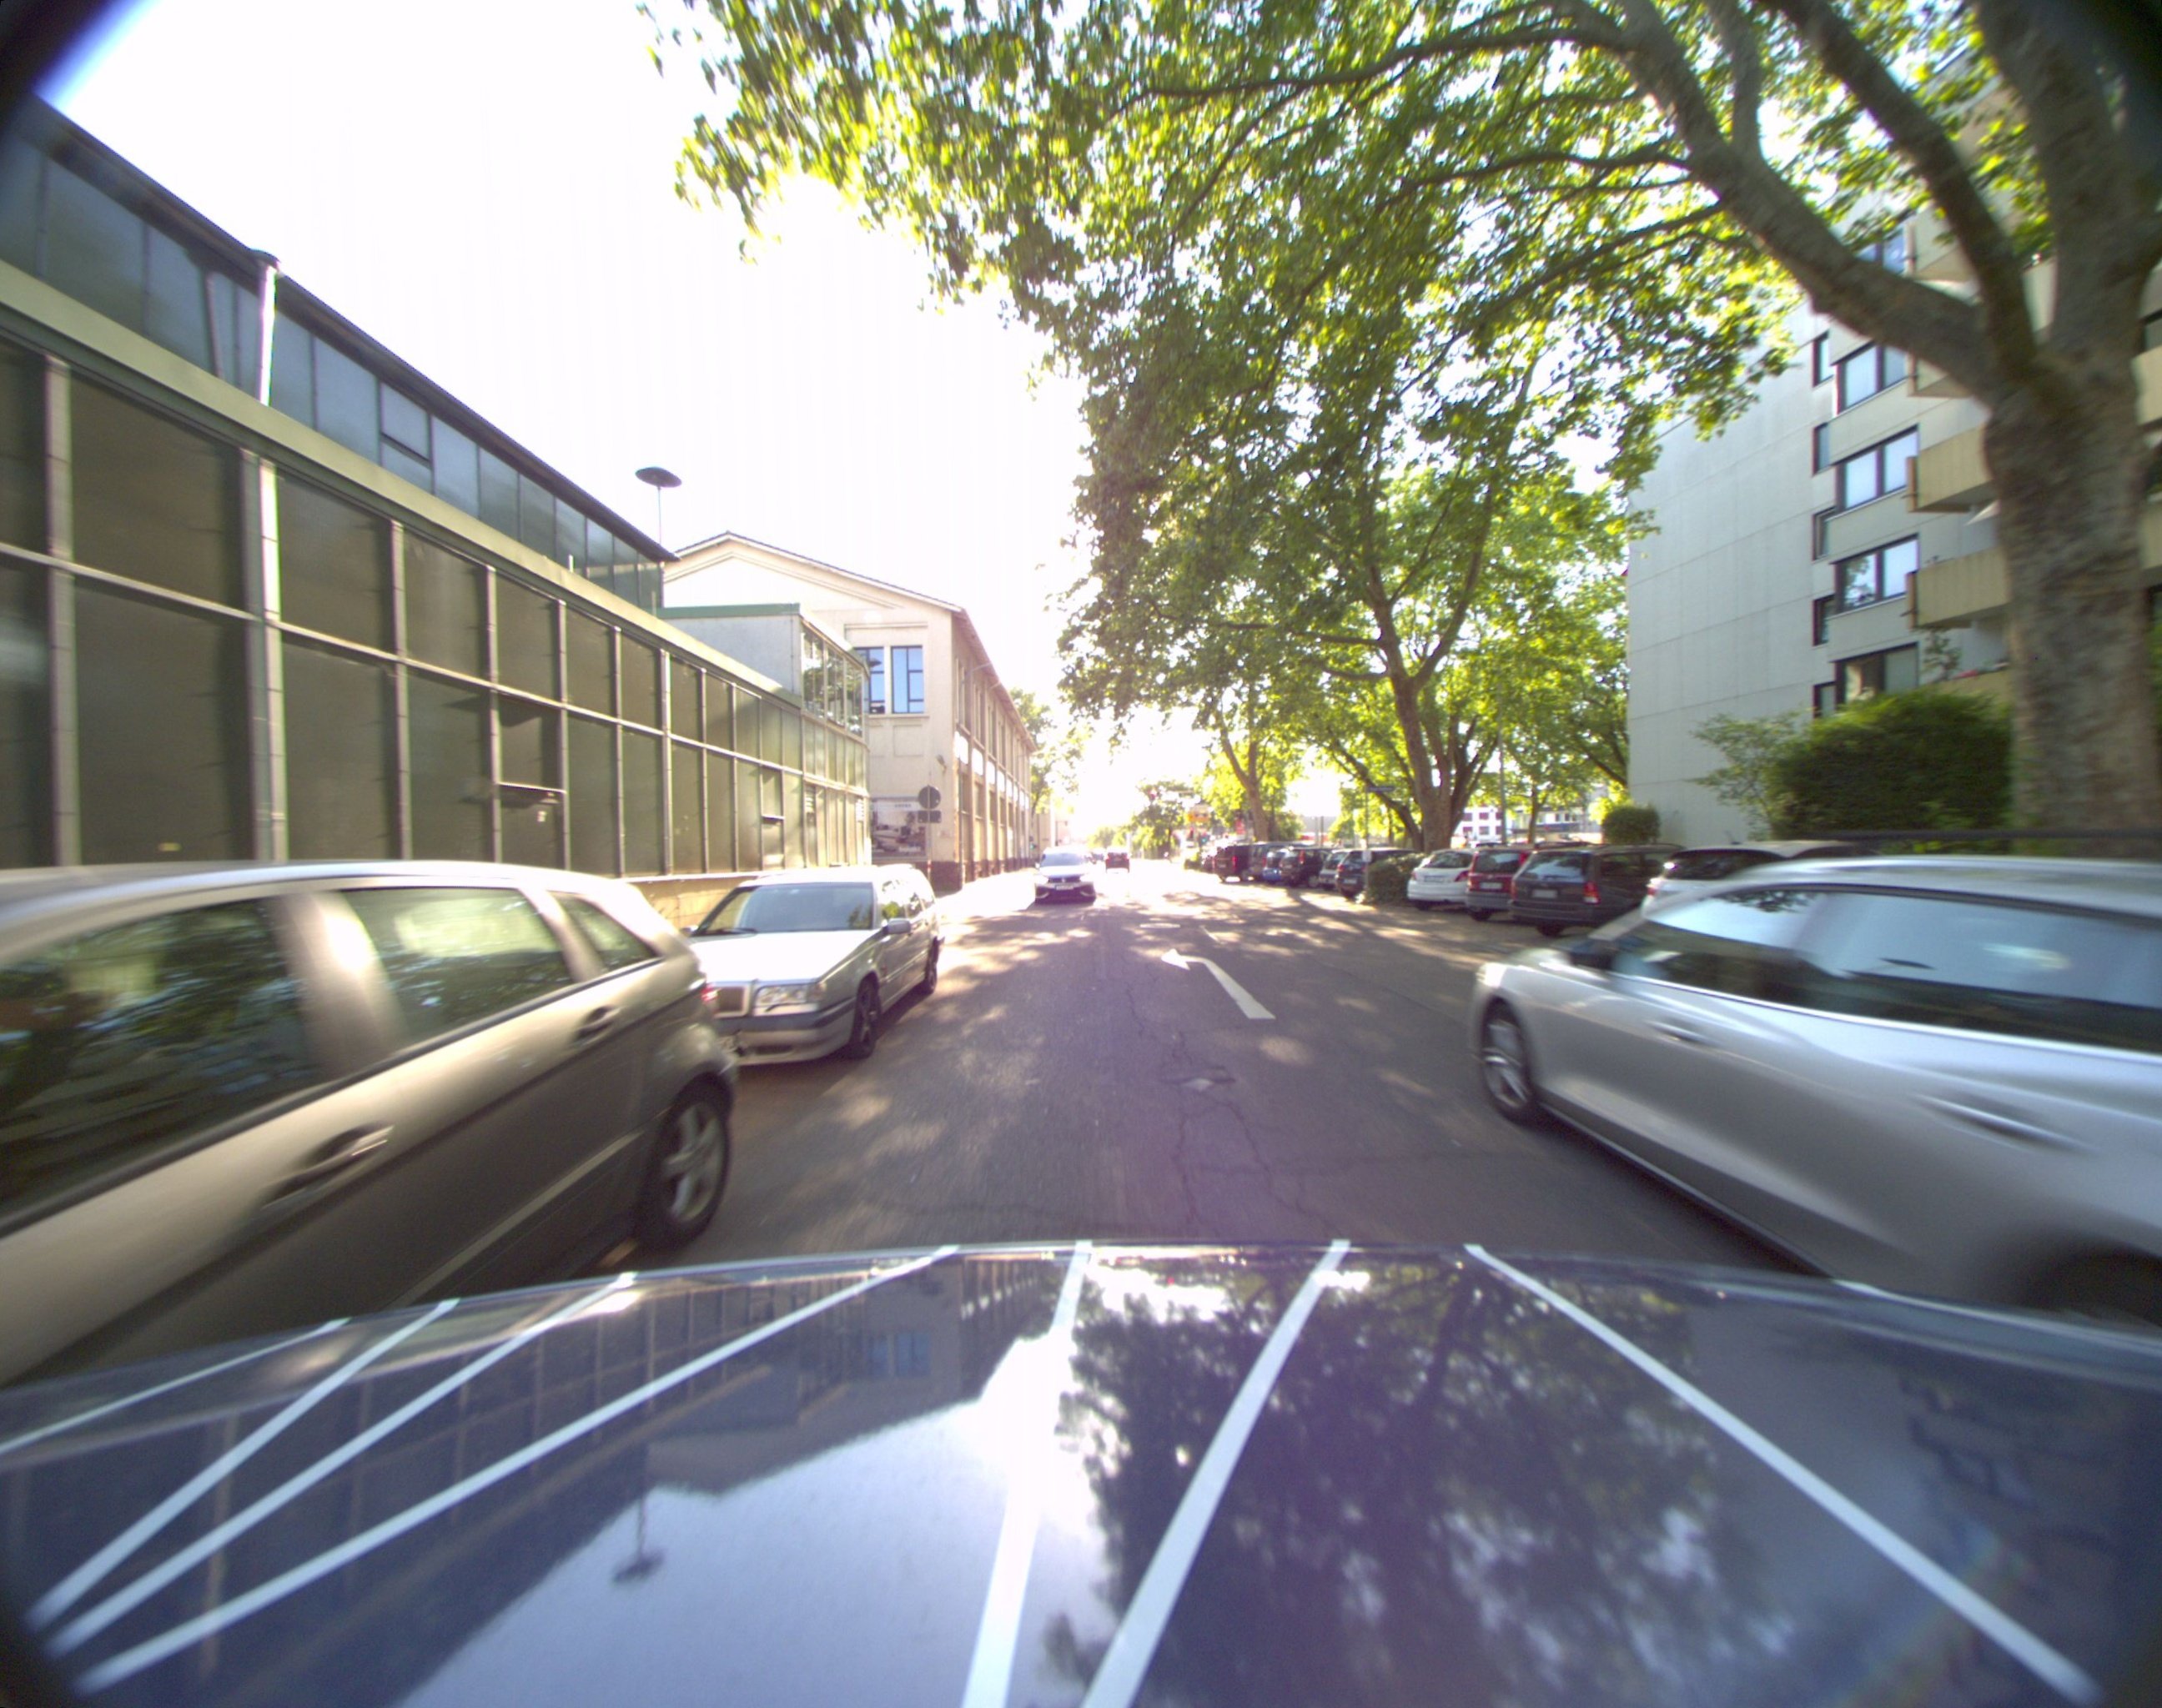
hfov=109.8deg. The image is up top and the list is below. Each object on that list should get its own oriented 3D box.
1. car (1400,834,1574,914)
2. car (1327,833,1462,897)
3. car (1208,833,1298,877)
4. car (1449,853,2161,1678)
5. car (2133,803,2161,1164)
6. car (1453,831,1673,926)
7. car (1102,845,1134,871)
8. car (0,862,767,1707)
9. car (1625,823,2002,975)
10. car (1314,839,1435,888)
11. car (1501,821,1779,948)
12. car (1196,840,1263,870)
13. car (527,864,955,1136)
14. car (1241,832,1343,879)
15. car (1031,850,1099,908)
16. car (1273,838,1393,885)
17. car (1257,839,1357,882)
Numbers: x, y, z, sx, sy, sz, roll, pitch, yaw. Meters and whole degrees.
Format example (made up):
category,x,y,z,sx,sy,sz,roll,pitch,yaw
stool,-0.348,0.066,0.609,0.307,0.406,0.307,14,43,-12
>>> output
category,x,y,z,sx,sy,sz,roll,pitch,yaw
car,9.484,0.413,17.728,3.654,1.552,1.706,-3,1,-26
car,9.386,0.283,22.713,3.654,1.652,1.647,-3,1,-25
car,8.357,0.041,36.840,4.004,1.876,1.713,-3,1,-25
car,3.093,0.795,2.409,1.904,1.527,4.622,0,1,5
car,7.573,0.530,3.683,4.273,1.765,1.902,-3,1,-22
car,9.480,0.427,14.998,3.652,1.552,1.647,-3,1,-17
car,2.497,0.246,52.051,1.965,1.633,3.999,-3,1,1
car,-2.471,0.929,1.510,1.755,1.625,4.308,-3,1,1
car,9.060,0.474,9.479,3.663,1.485,1.774,-3,0,-17
car,10.170,0.297,26.390,3.653,1.453,1.703,-3,1,-20
car,8.778,0.410,11.990,3.652,1.652,1.647,-3,1,-17
car,9.341,0.053,47.643,4.006,1.633,1.713,-3,1,-33
car,-2.492,0.943,7.016,1.905,1.485,4.527,-3,1,-1
car,9.492,0.041,34.275,4.002,1.871,1.831,-3,1,-15
car,-0.508,0.711,23.821,1.854,1.527,3.856,-4,1,-1
car,9.623,0.253,29.084,4.001,1.615,1.795,-2,1,-13
car,9.332,0.259,31.430,3.602,1.552,1.647,-3,1,-17
